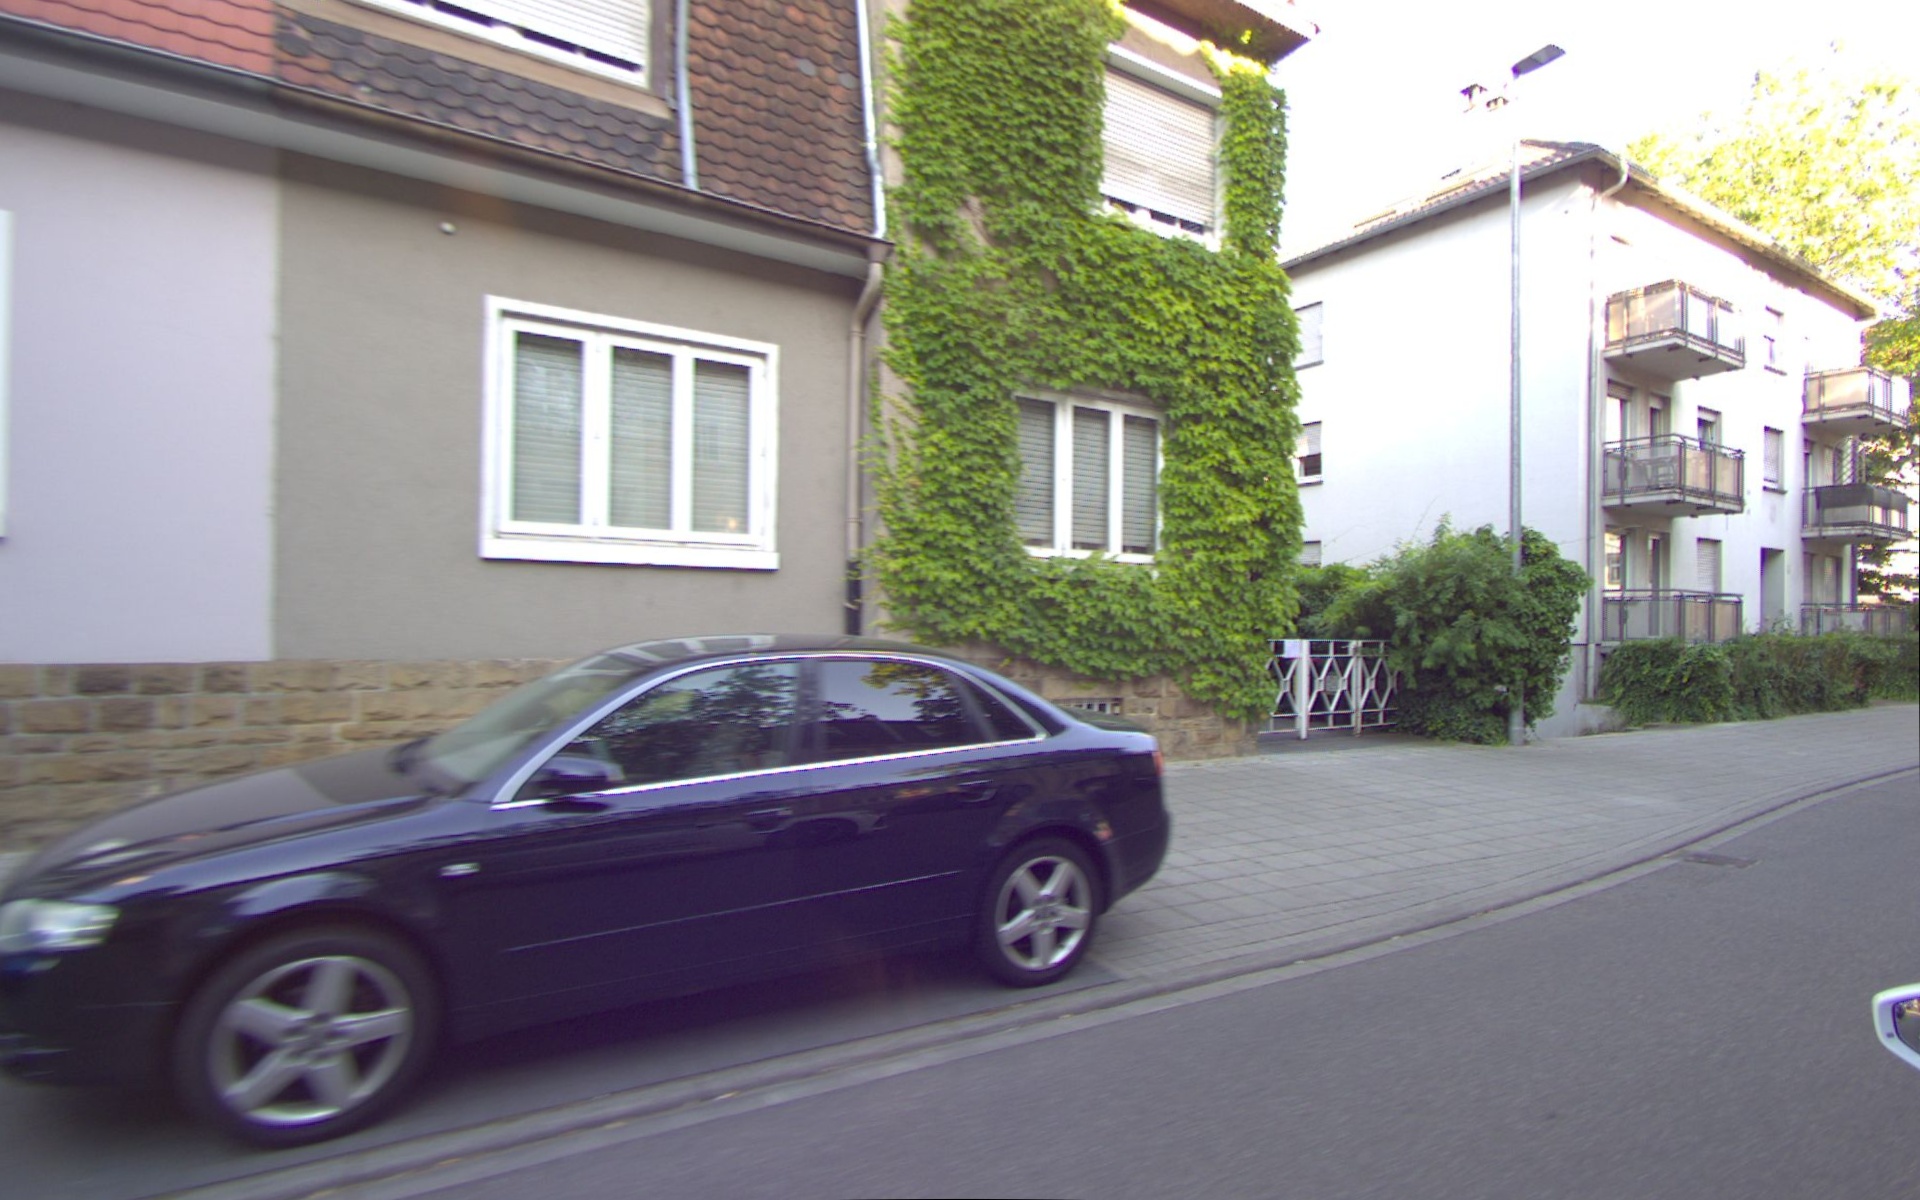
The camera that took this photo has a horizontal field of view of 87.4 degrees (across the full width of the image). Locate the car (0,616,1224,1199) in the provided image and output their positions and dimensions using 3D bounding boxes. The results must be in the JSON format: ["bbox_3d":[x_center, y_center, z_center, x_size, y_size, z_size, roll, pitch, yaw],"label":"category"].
[{"bbox_3d":[-1.062,0.837,4.287,4.306,1.466,1.687,1,0,-30],"label":"car"}]

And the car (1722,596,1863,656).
[{"bbox_3d":[39.766,1.200,48.092,1.956,2.704,4.873,1,-1,-36],"label":"car"}]
